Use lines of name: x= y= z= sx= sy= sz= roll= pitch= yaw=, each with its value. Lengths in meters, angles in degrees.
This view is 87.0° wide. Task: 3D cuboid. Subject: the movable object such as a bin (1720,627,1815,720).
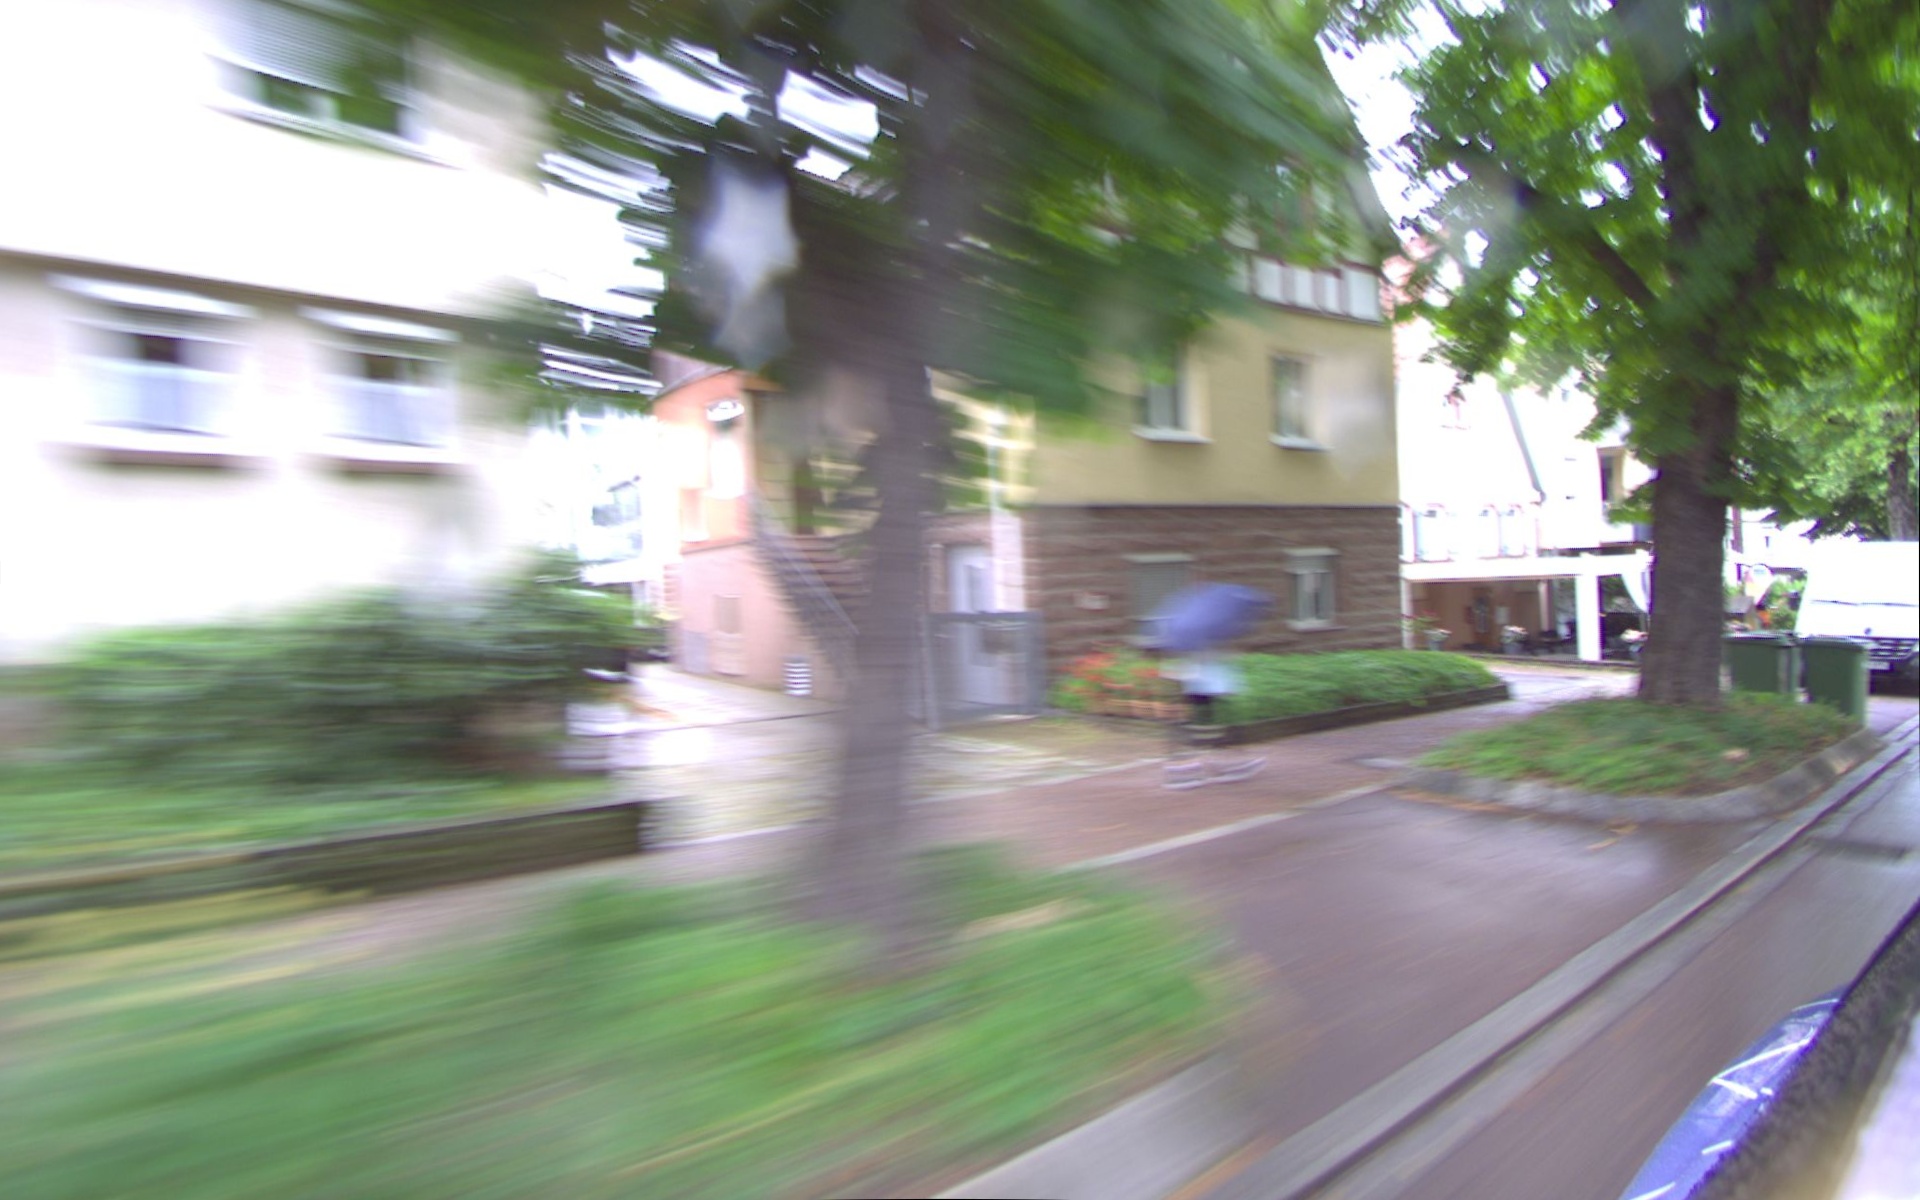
movable object such as a bin: x=10.077 y=0.892 z=12.628 sx=0.863 sy=1.089 sz=0.749 roll=0 pitch=-1 yaw=-41

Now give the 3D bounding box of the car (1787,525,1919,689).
car: x=16.280 y=0.081 z=17.484 sx=5.340 sy=2.491 sz=2.144 roll=-1 pitch=-1 yaw=-41

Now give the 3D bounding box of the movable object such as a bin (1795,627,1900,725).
movable object such as a bin: x=10.541 y=0.874 z=12.021 sx=0.863 sy=1.089 sz=0.798 roll=0 pitch=-1 yaw=-41

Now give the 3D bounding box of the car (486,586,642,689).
car: x=-7.422 y=0.616 z=18.761 sx=1.837 sy=1.629 sz=3.819 roll=-3 pitch=2 yaw=-34

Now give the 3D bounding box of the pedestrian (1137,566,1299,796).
pedestrian: x=2.012 y=0.585 z=7.980 sx=0.778 sy=1.672 sz=0.959 roll=-1 pitch=0 yaw=-27
